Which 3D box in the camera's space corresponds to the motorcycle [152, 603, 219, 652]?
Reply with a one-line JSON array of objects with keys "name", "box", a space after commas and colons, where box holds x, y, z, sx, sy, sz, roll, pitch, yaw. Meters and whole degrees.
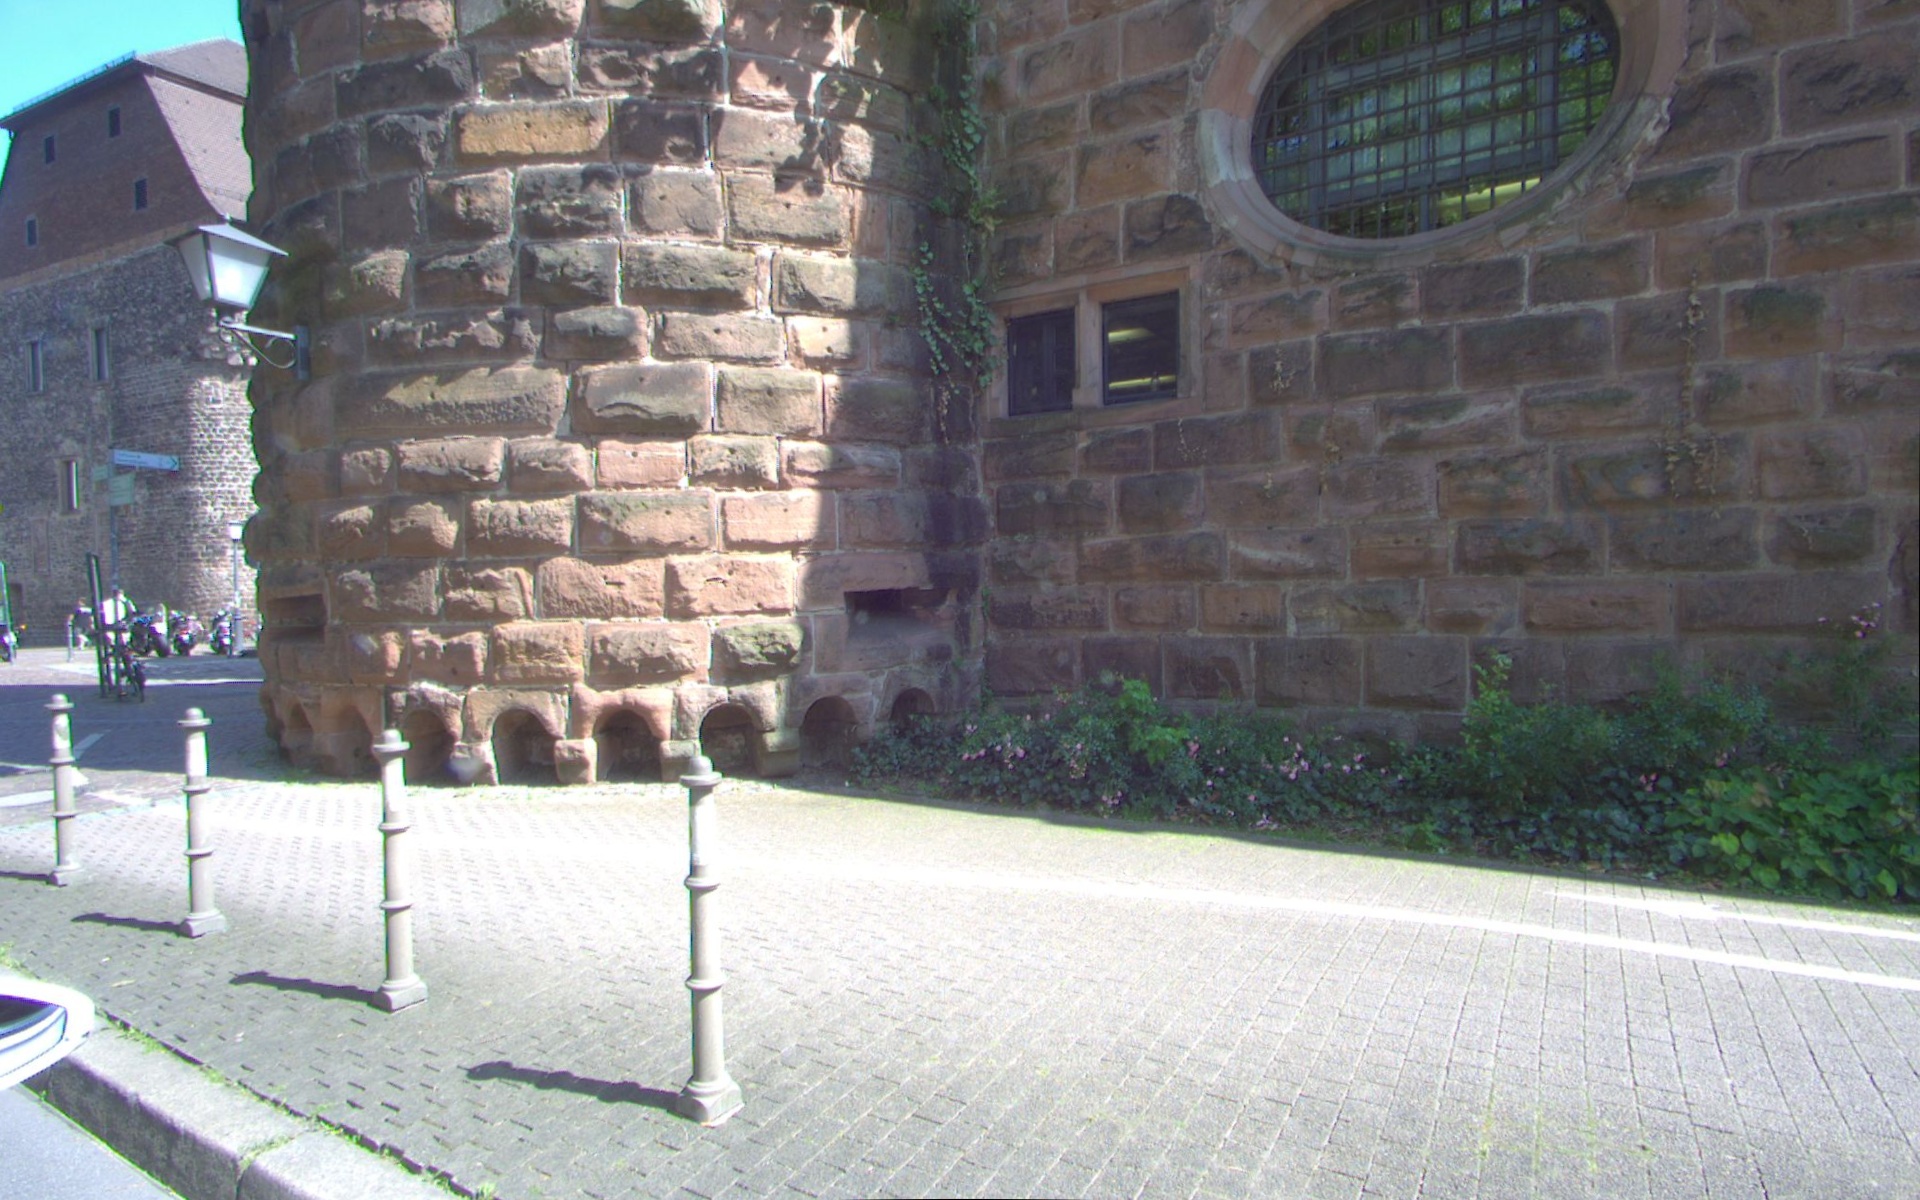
[{"name": "motorcycle", "box": [-20.430, 0.728, 26.406, 2.280, 1.251, 0.674, -1, -2, 32]}]

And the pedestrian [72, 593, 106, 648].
[{"name": "pedestrian", "box": [-29.358, 0.676, 33.737, 0.835, 1.826, 0.651, 0, 0, 31]}]

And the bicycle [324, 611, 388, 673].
[{"name": "bicycle", "box": [-12.026, 0.810, 19.908, 1.707, 1.178, 0.445, 0, 1, 36]}]

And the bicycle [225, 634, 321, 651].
[{"name": "bicycle", "box": [-17.535, 1.083, 25.591, 1.916, 0.386, 0.909, 0, -2, -44]}]

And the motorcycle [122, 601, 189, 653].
[{"name": "motorcycle", "box": [-20.521, 0.696, 25.527, 2.169, 1.282, 0.654, -1, -1, 32]}]

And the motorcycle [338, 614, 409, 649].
[{"name": "motorcycle", "box": [-18.248, 0.983, 31.192, 0.474, 1.067, 1.858, -1, -2, 40]}]

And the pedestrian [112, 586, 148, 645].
[{"name": "pedestrian", "box": [-28.959, 0.555, 34.947, 0.865, 2.039, 0.729, -1, -1, 32]}]

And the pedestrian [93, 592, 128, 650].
[{"name": "pedestrian", "box": [-28.290, 0.709, 33.338, 0.809, 1.908, 0.667, -1, -1, 31]}]

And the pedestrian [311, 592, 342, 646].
[{"name": "pedestrian", "box": [-20.254, 0.601, 32.028, 0.799, 1.684, 0.652, -1, 1, -34]}]

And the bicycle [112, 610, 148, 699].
[{"name": "bicycle", "box": [-12.006, 0.757, 14.465, 1.750, 1.220, 0.192, 0, 1, 44]}]

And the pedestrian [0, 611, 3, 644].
[{"name": "pedestrian", "box": [-49.201, 1.401, 50.901, 0.685, 1.634, 0.884, -2, 2, -39]}]

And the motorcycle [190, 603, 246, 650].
[{"name": "motorcycle", "box": [-20.302, 0.736, 27.378, 2.002, 1.251, 0.545, -1, -2, 32]}]

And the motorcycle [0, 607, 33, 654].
[{"name": "motorcycle", "box": [-22.179, 0.686, 23.048, 2.453, 1.026, 0.565, 0, 1, 32]}]

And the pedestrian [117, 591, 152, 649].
[{"name": "pedestrian", "box": [-28.196, 0.691, 34.208, 0.809, 1.944, 0.667, -1, -1, 31]}]

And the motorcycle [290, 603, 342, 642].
[{"name": "motorcycle", "box": [-18.088, 0.645, 28.108, 1.814, 1.087, 0.506, -1, -2, 32]}]

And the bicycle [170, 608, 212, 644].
[{"name": "bicycle", "box": [-26.620, 0.918, 34.648, 1.690, 1.225, 0.388, -1, -1, 24]}]

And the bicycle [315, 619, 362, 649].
[{"name": "bicycle", "box": [-18.391, 1.003, 29.624, 1.898, 0.831, 0.353, 0, -1, 32]}]
